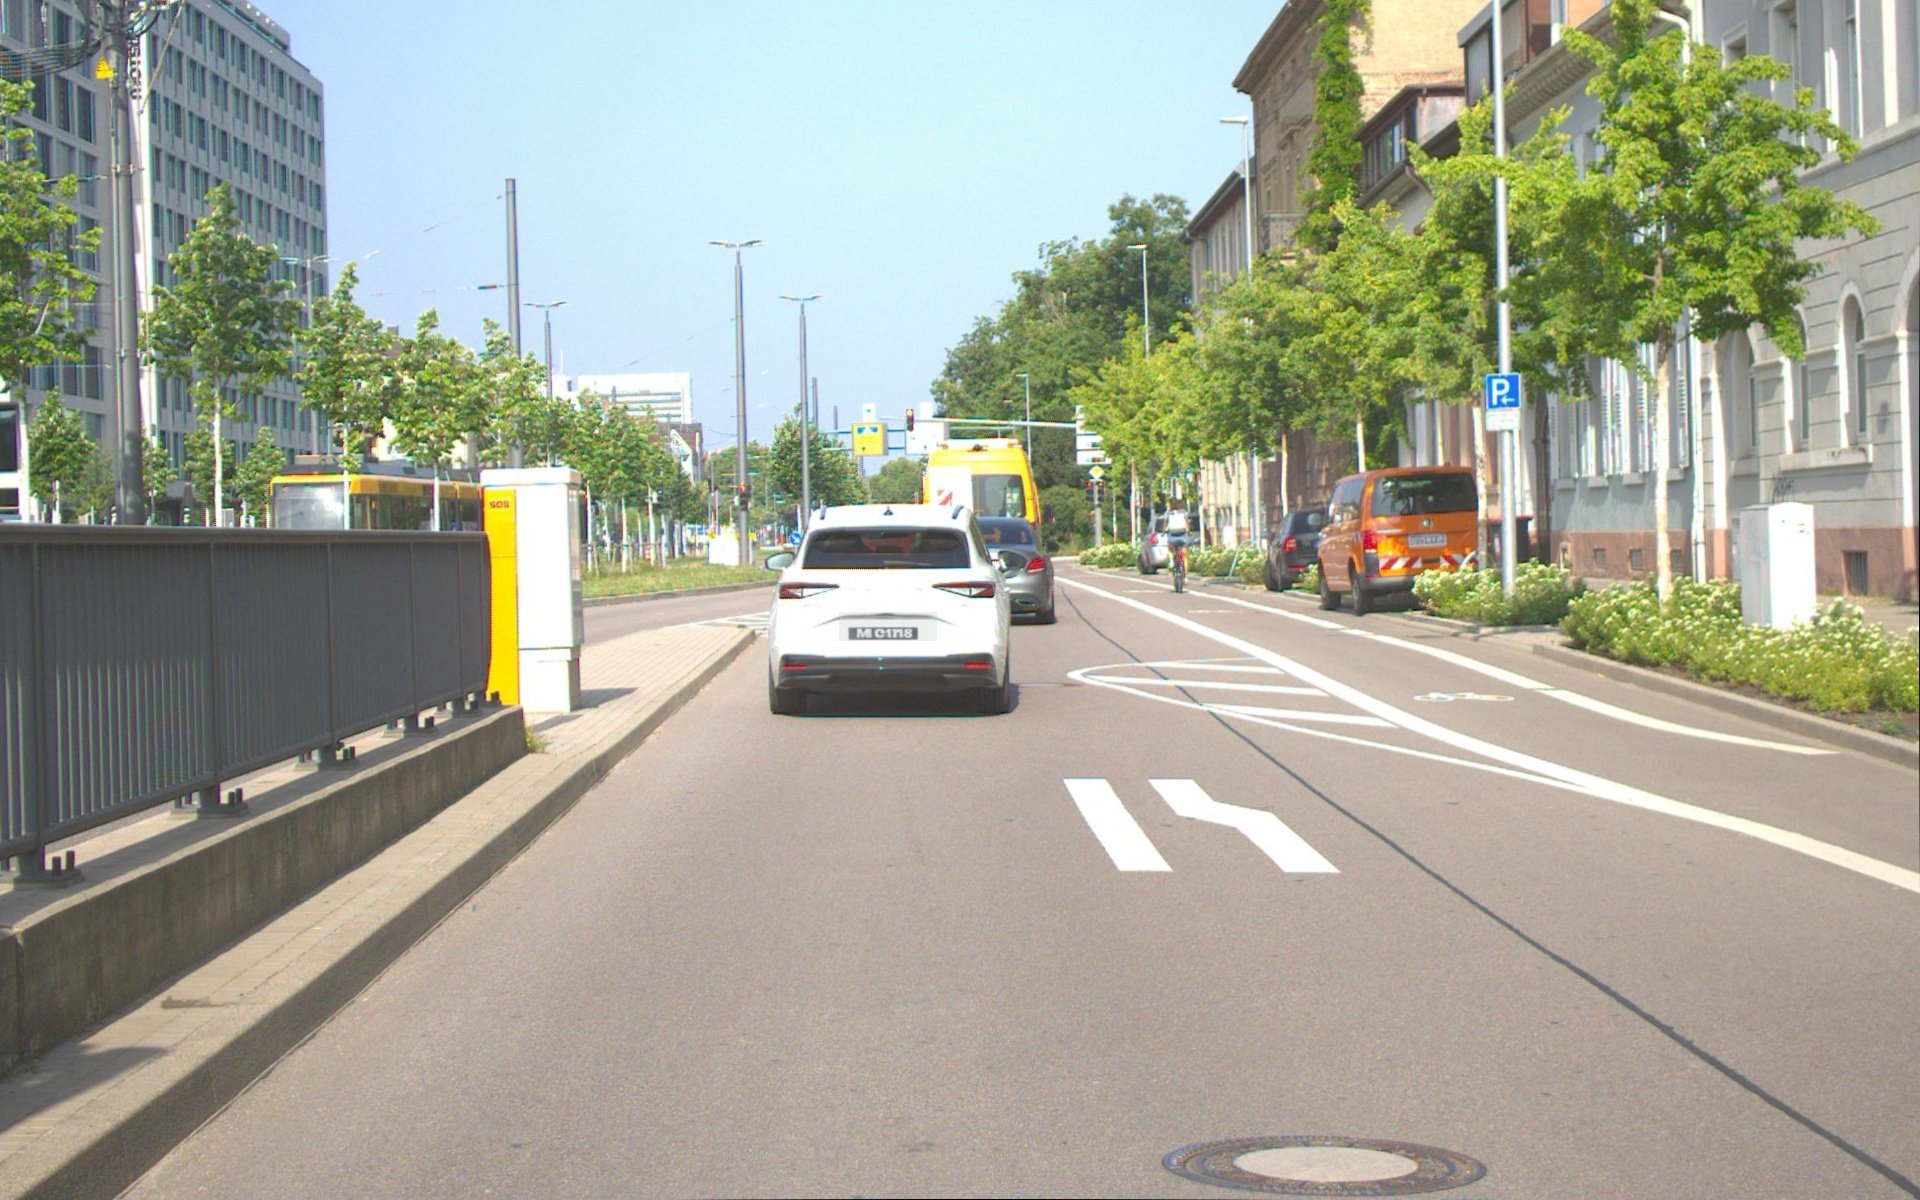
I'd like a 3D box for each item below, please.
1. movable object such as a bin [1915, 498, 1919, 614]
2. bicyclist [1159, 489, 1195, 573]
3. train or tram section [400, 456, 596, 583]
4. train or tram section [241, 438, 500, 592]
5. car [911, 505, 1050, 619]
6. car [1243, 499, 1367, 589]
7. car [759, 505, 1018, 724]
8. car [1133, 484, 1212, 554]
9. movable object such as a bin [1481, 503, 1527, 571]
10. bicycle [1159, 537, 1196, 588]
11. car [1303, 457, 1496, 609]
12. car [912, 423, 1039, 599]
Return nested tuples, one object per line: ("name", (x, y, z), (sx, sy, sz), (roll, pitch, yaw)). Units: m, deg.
("movable object such as a bin", (9.940, -0.439, 34.165), (0.669, 1.148, 0.617), (-4, 5, -44))
("bicyclist", (4.108, -1.305, 65.106), (0.639, 1.571, 0.771), (-1, 1, 2))
("train or tram section", (-14.414, -2.520, 109.243), (2.906, 3.694, 18.289), (0, 1, 3))
("train or tram section", (-15.282, -2.197, 91.089), (2.906, 3.663, 18.136), (0, 1, 3))
("car", (0.266, -0.546, 45.900), (1.760, 1.431, 4.115), (0, 2, 0))
("car", (6.139, -1.005, 61.626), (1.673, 1.478, 4.312), (-3, 1, -1))
("car", (-0.529, 0.053, 27.263), (1.870, 1.569, 4.000), (-1, 2, 0))
("car", (5.665, -2.182, 91.974), (1.812, 1.806, 3.836), (-1, 2, -1))
("movable object such as a bin", (9.711, -1.123, 61.369), (0.679, 1.196, 0.781), (-1, 2, -1))
("bicycle", (4.117, -0.716, 65.174), (0.655, 0.935, 1.517), (-1, 1, 2))
("car", (6.159, -0.985, 48.655), (2.063, 2.006, 4.589), (-1, 2, -1))
("car", (0.257, -1.594, 58.992), (2.020, 2.786, 5.402), (-1, 3, 0))
